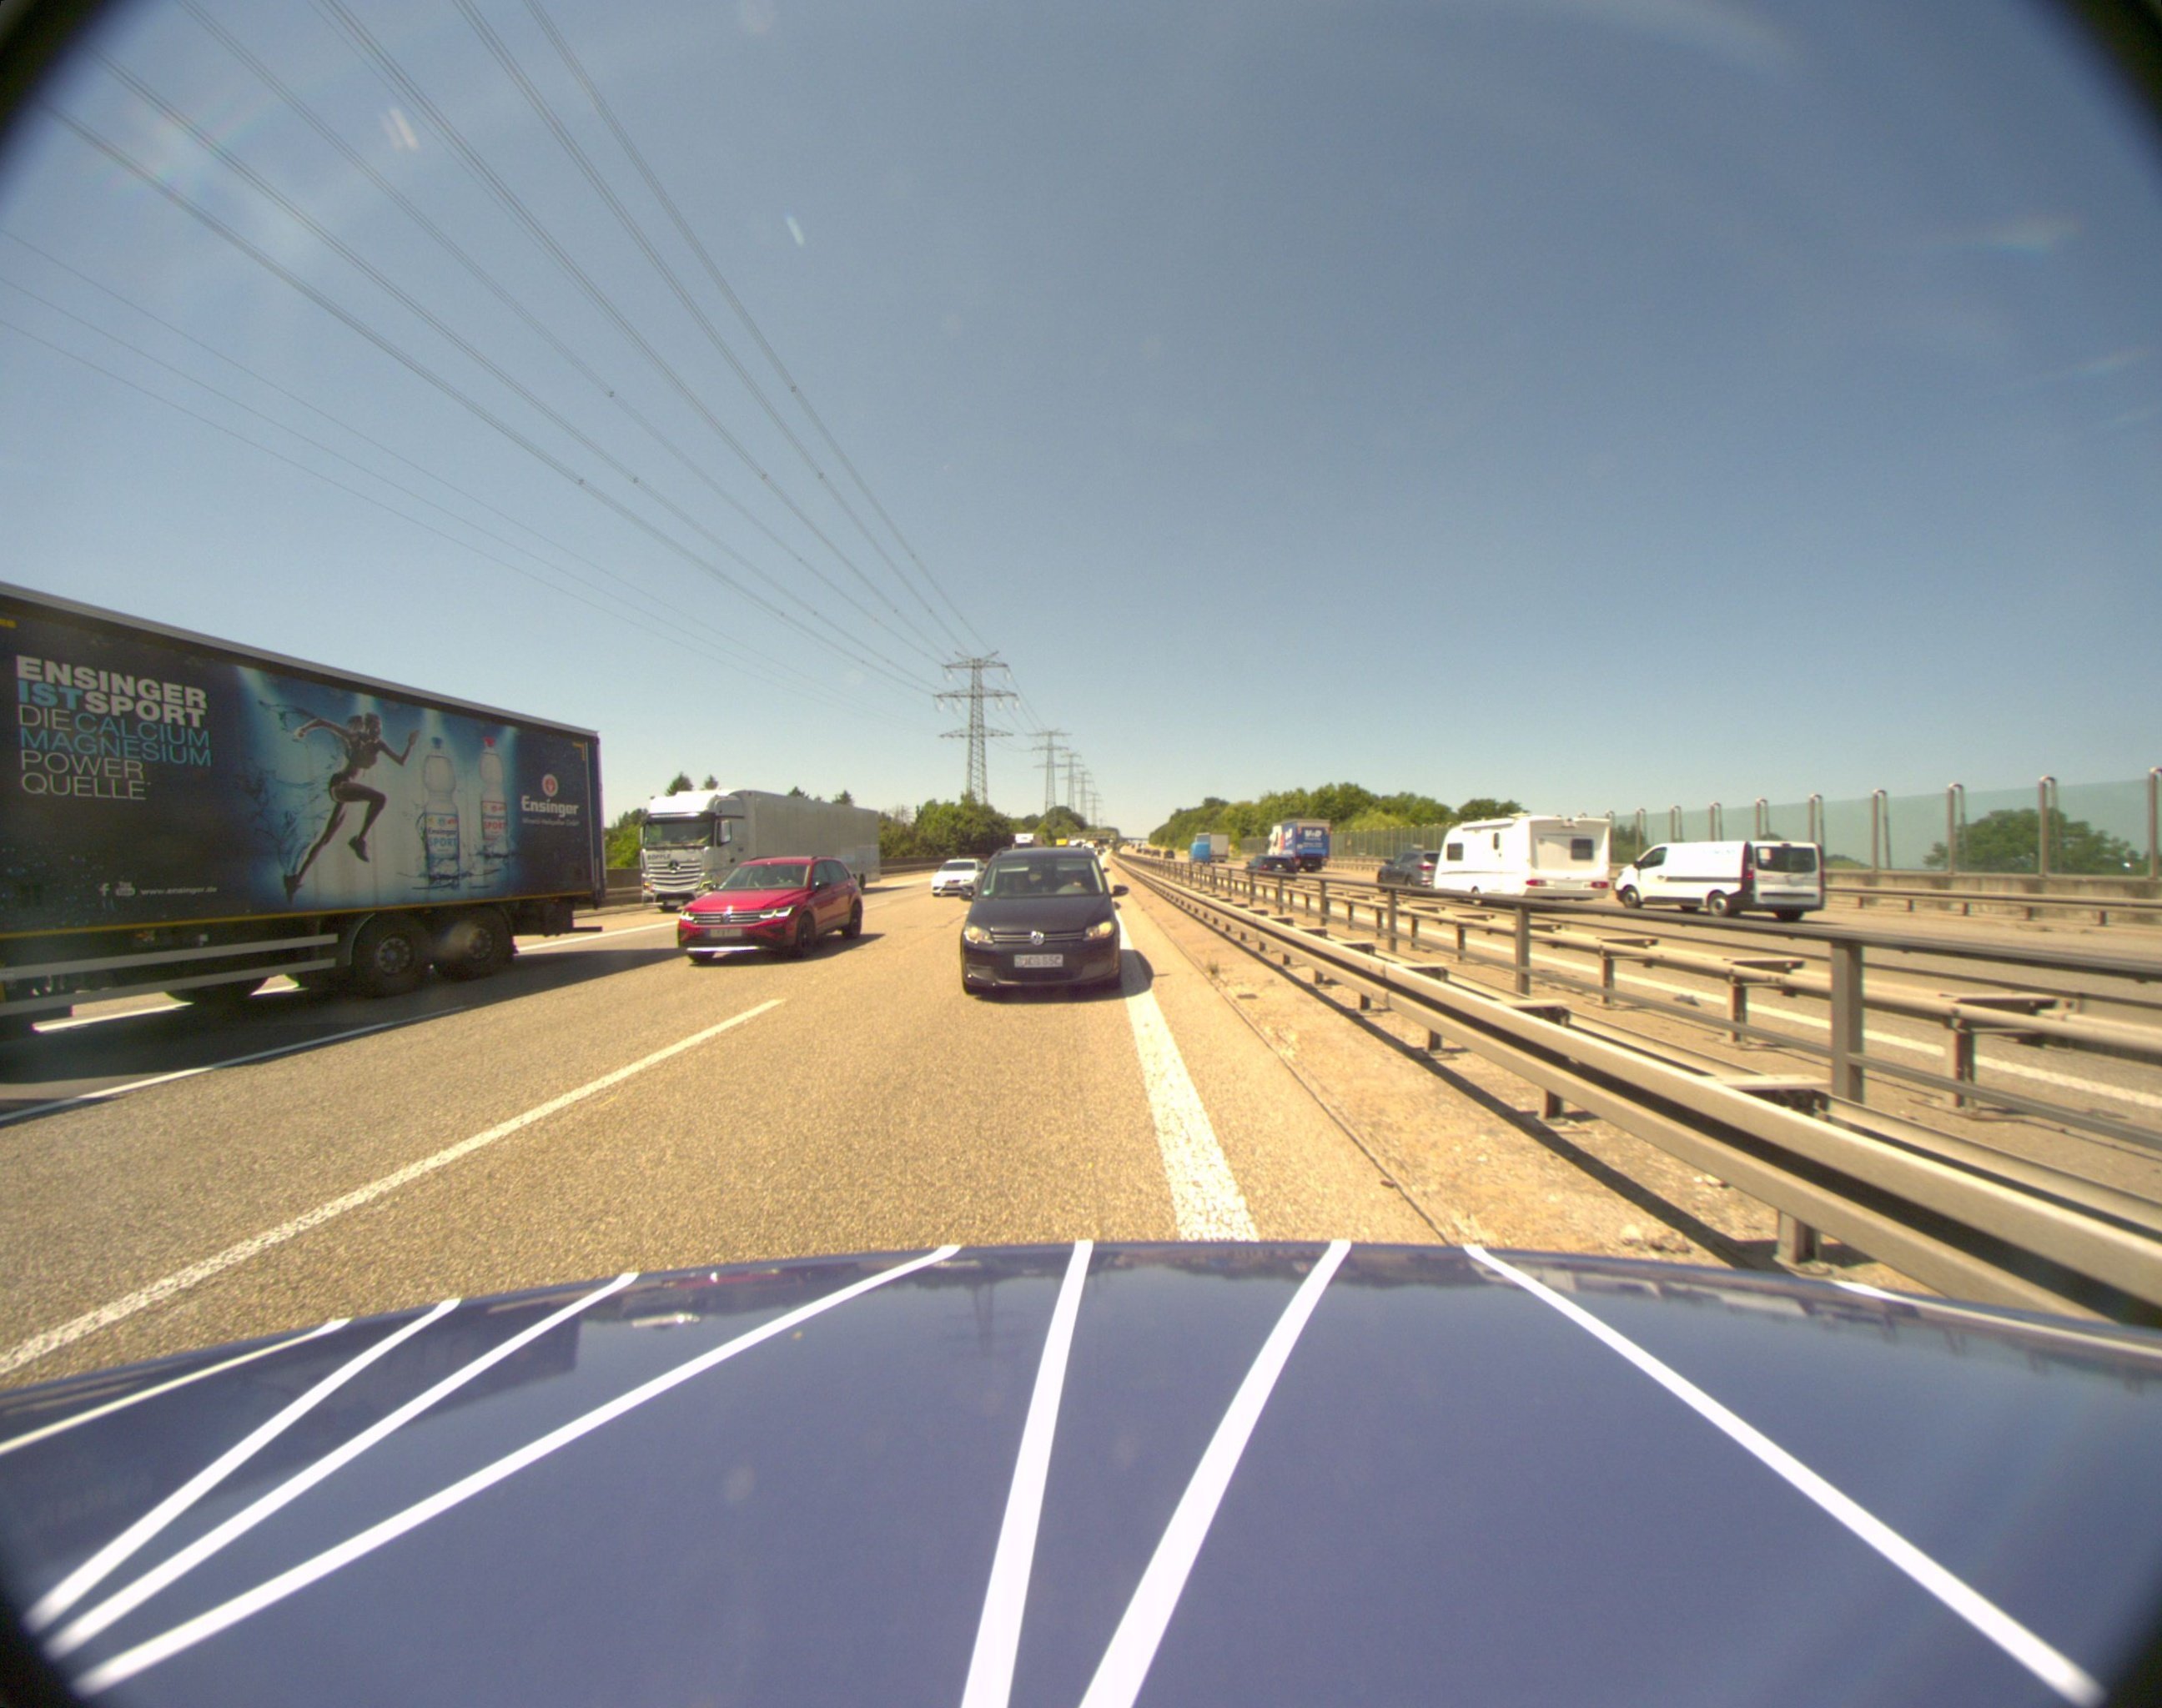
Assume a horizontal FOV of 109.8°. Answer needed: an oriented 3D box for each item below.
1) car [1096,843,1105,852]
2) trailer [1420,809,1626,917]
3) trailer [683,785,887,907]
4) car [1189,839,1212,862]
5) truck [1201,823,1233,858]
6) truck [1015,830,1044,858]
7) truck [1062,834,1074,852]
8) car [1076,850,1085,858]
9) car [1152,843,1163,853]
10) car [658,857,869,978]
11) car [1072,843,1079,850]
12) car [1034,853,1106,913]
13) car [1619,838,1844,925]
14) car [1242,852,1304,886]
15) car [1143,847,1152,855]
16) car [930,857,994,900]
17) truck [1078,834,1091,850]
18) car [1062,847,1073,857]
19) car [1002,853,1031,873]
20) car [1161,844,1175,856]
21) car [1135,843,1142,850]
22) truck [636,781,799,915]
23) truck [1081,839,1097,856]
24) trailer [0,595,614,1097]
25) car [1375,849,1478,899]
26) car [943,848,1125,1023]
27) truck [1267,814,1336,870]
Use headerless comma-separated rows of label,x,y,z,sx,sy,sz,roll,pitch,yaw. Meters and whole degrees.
car,4.625,-1.658,183.278,1.998,2.002,3.999,-2,1,1
trailer,12.522,0.199,22.272,2.322,2.690,6.360,1,1,1
trailer,-11.935,-0.338,33.012,2.541,4.096,13.774,-2,1,3
car,14.024,-0.455,89.271,1.986,2.576,5.036,1,1,1
truck,18.836,-1.843,105.659,2.876,4.514,9.988,1,1,2
truck,-6.873,-1.335,103.597,2.985,3.538,10.966,-2,1,1
truck,-3.099,-2.690,180.228,2.346,4.058,8.278,-2,1,1
car,-0.159,-0.103,149.750,1.763,1.495,4.094,-1,1,0
car,16.766,-1.332,167.586,1.986,2.058,4.239,1,1,1
car,-5.169,0.920,13.064,1.779,1.652,4.224,-2,1,0
car,-1.704,-2.166,222.727,1.998,2.002,4.000,0,1,1
car,-0.262,0.755,21.924,1.845,1.495,4.377,-1,0,1
car,16.749,0.618,19.959,2.039,1.972,4.489,2,1,1
car,8.734,0.647,34.918,1.853,1.386,4.000,2,1,1
car,18.085,-0.835,207.372,1.986,2.058,4.239,1,1,1
car,-4.706,0.916,30.617,1.843,1.481,4.072,-2,1,0
truck,0.957,-2.890,185.071,2.980,3.832,10.561,-2,1,1
car,-2.126,-0.294,123.159,1.763,1.495,4.093,-1,1,0
car,-5.009,0.667,59.516,1.739,1.437,4.210,-2,1,2
car,15.454,-0.778,135.432,1.986,2.058,4.239,1,1,1
car,18.582,-2.344,244.577,1.986,2.058,4.239,1,1,1
truck,-12.330,-0.212,26.410,2.522,4.096,5.716,-2,1,3
truck,1.259,-1.052,118.031,2.284,2.479,5.861,-2,1,1
trailer,-9.693,-0.062,9.199,2.572,3.922,8.478,-2,1,1
car,12.431,0.666,27.673,1.806,1.632,4.268,1,1,1
car,-0.453,0.792,9.522,1.740,1.652,3.999,-2,1,0
truck,17.559,-0.968,61.371,2.876,4.062,9.988,1,1,2
